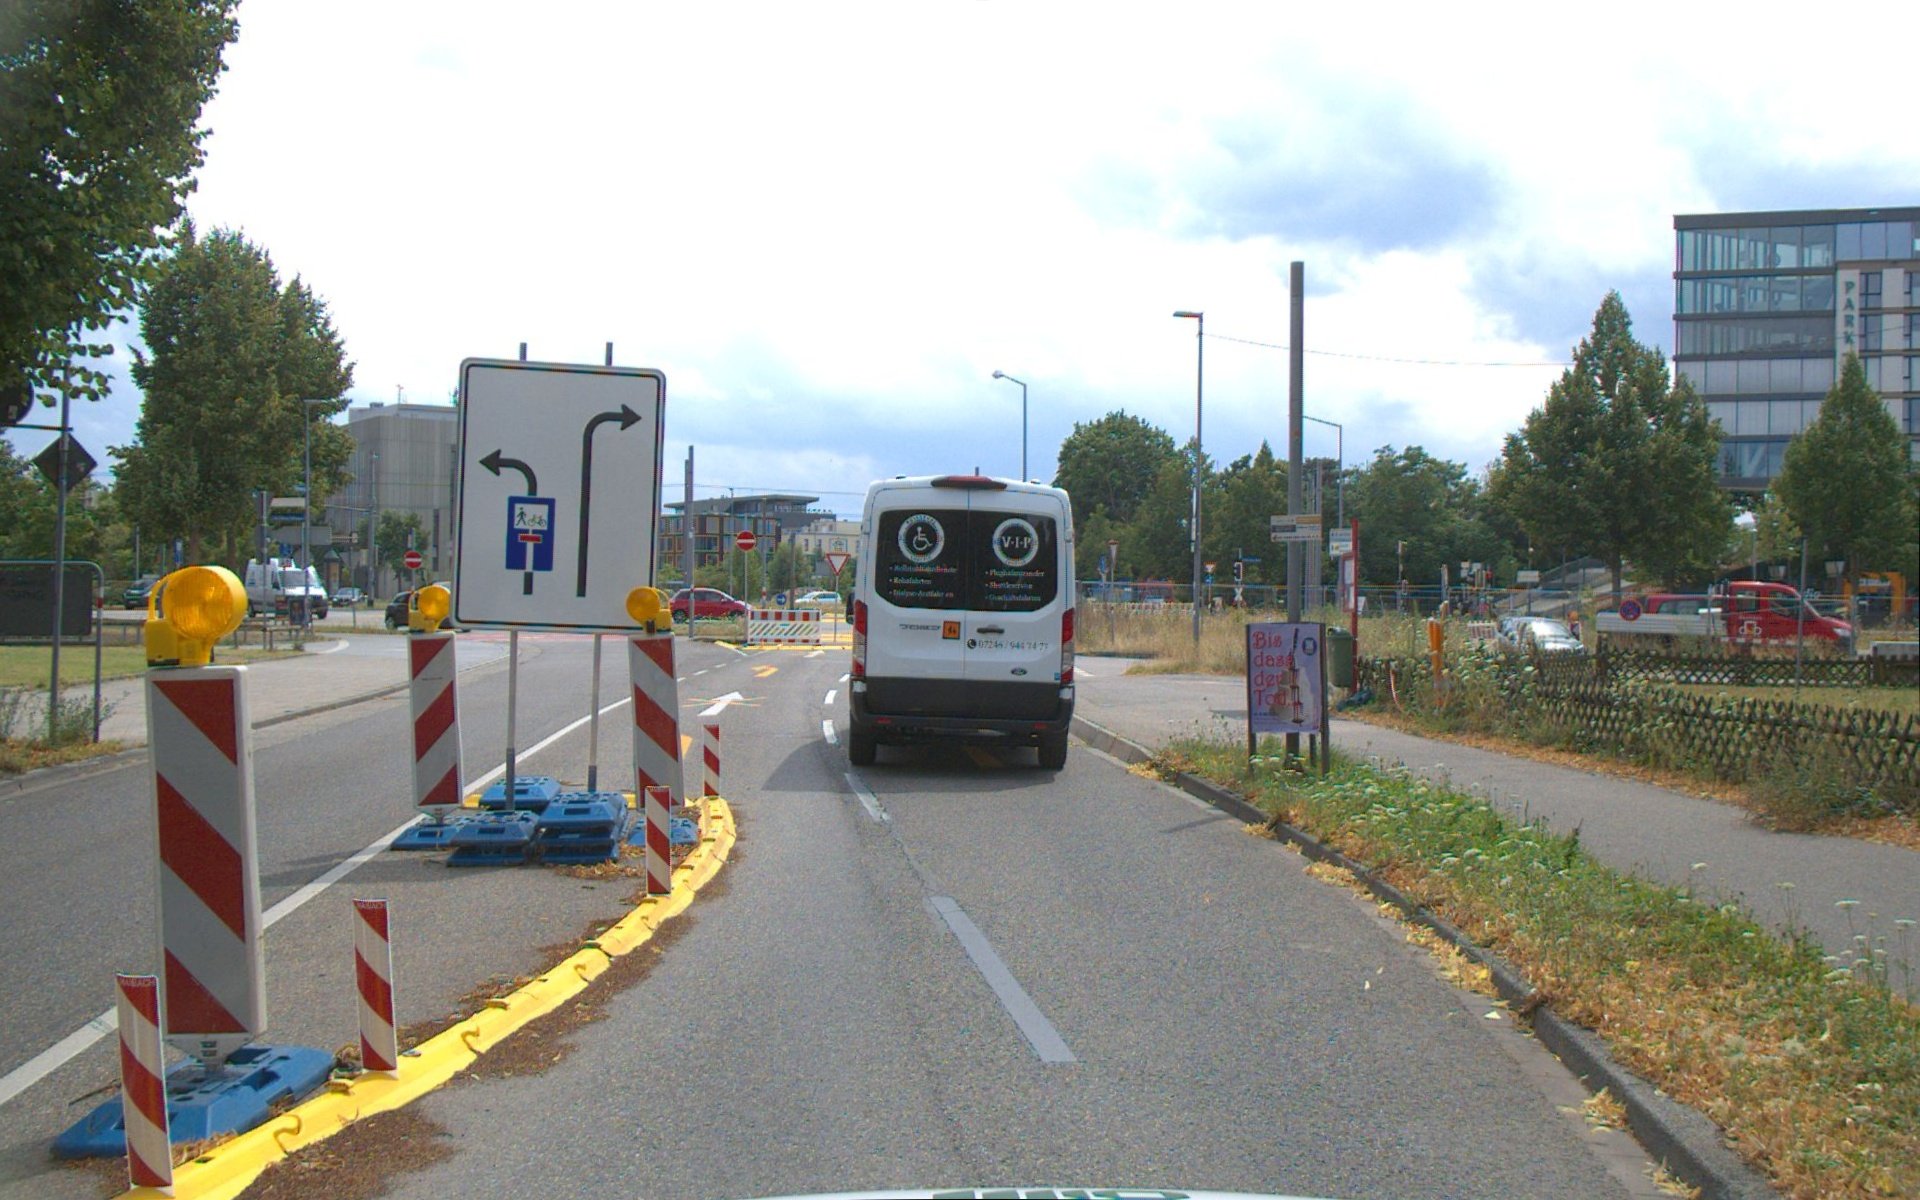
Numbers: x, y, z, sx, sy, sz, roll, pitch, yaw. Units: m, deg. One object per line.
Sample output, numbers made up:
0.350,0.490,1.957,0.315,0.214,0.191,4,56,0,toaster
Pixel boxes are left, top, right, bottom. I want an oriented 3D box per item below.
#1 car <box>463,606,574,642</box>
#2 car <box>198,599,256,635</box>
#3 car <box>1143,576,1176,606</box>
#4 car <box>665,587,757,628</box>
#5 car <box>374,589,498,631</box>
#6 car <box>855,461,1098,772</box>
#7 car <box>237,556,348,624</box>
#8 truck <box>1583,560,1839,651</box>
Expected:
-18.046,0.984,67.615,4.252,1.378,1.622,-1,0,21,car
-36.792,0.841,82.980,1.870,1.691,3.948,-2,0,-36,car
12.888,-0.587,106.785,1.964,1.848,4.416,-2,0,8,car
-10.972,0.330,73.155,3.911,1.691,1.888,-2,0,-7,car
-19.252,0.367,60.783,4.155,1.504,1.778,0,0,20,car
0.071,0.153,15.791,2.021,2.584,3.998,0,0,-2,car
-30.112,-0.422,74.526,5.579,2.901,2.601,-1,0,45,car
21.450,0.135,47.499,6.528,2.468,2.532,0,0,24,truck
